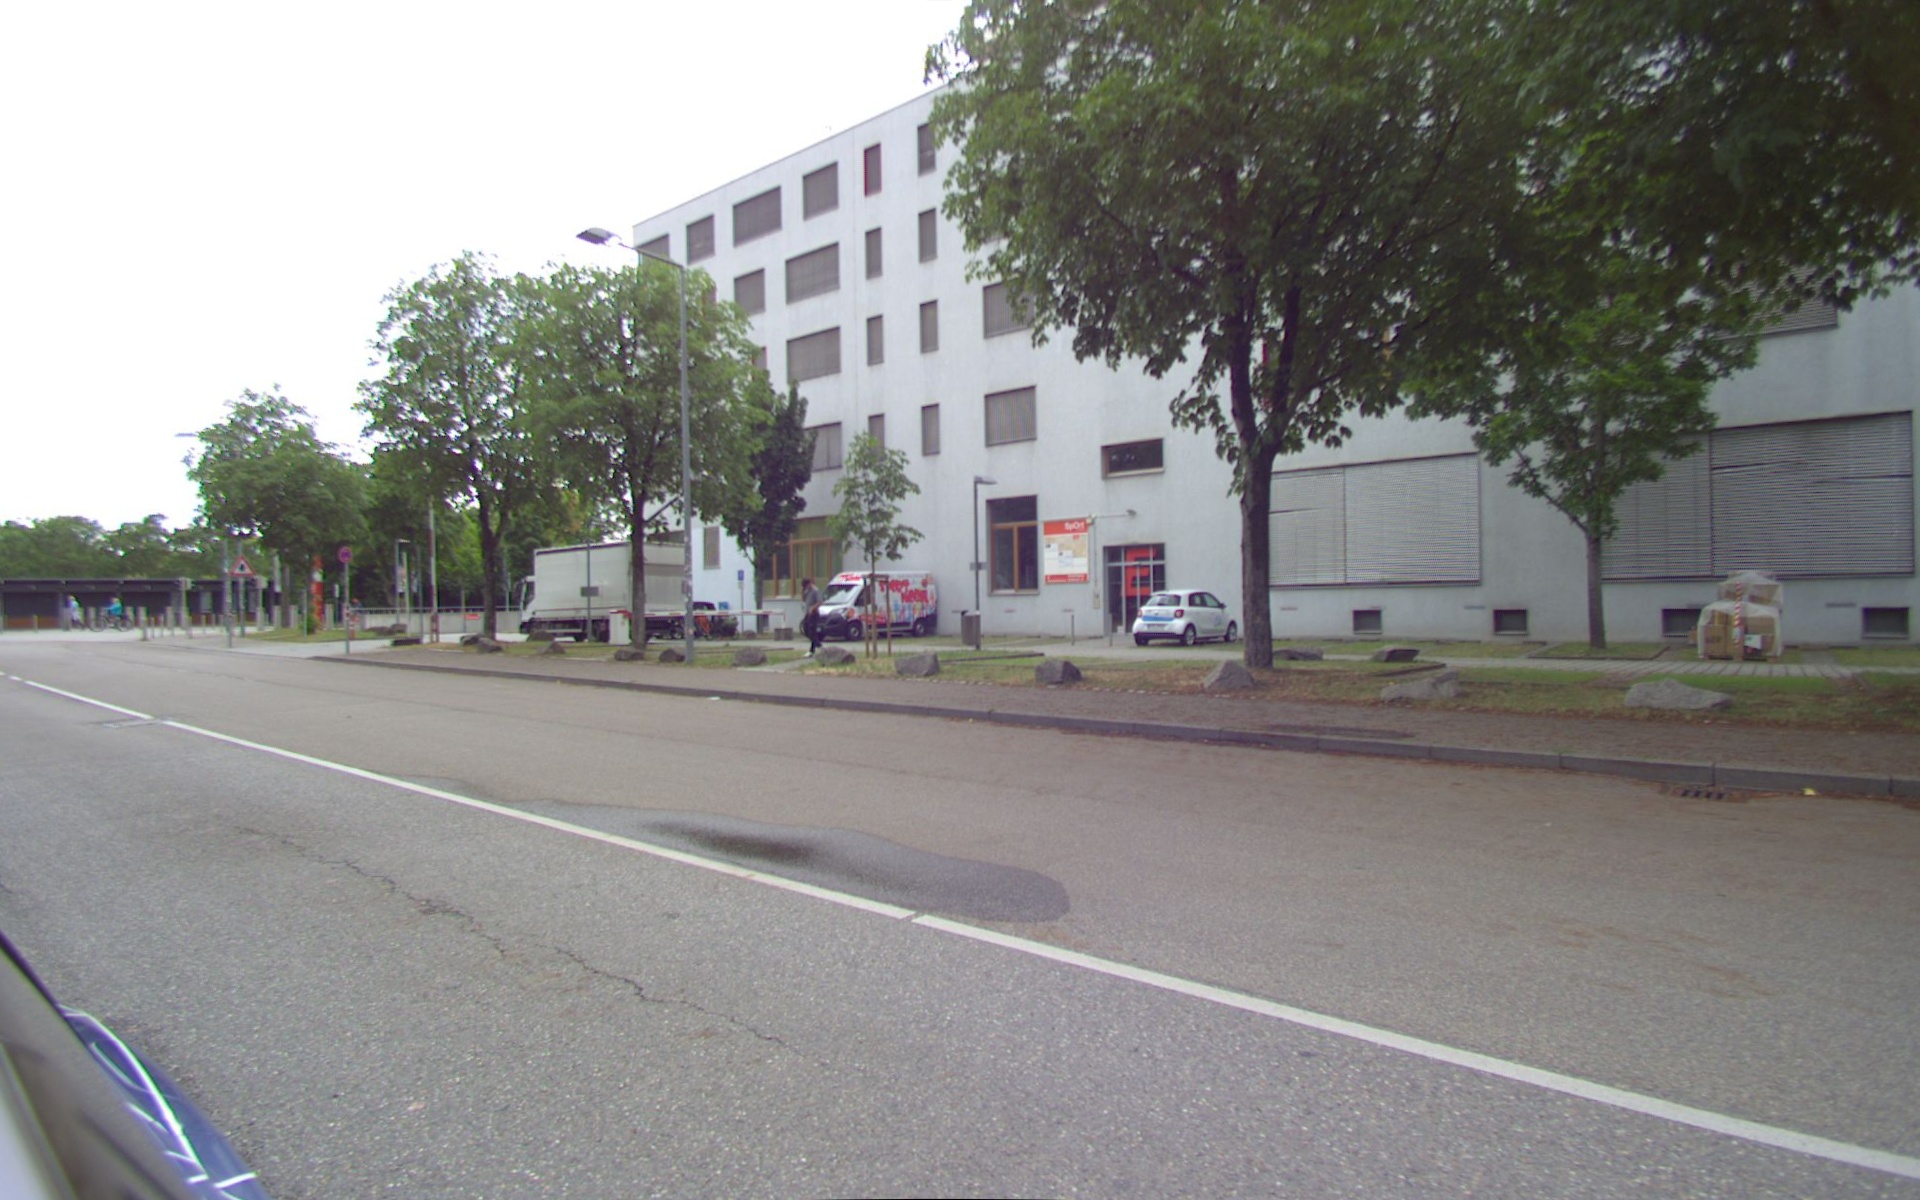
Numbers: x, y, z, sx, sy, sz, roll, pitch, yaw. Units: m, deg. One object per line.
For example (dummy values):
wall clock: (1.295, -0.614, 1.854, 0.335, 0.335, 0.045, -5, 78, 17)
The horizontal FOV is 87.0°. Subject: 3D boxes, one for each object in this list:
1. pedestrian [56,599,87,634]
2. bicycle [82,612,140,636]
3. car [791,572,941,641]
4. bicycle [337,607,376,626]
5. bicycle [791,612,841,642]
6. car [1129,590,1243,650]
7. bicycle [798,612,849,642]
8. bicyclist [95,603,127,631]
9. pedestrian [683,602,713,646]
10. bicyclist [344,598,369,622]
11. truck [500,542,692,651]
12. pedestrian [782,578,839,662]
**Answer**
pedestrian: (-48.028, 0.884, 54.694, 0.928, 1.847, 1.184, 1, 2, 44)
bicycle: (-44.913, 1.257, 53.553, 0.747, 1.131, 2.230, 0, 1, 37)
car: (-3.303, 0.167, 36.667, 2.077, 2.296, 5.569, 0, 1, 40)
bicycle: (-38.906, 1.056, 65.286, 0.775, 1.152, 2.030, 1, 2, 30)
bicycle: (-5.683, 1.050, 40.005, 0.614, 1.078, 2.003, 0, 1, 43)
car: (6.421, 0.506, 28.514, 1.691, 1.511, 3.576, 0, 1, 40)
bicycle: (-5.305, 1.055, 39.447, 0.614, 1.078, 2.003, 0, 1, 43)
bicyclist: (-44.913, 0.886, 53.551, 0.742, 1.441, 1.145, 0, 1, 37)
pedestrian: (-9.864, 0.895, 38.150, 0.885, 1.618, 0.672, 0, 1, 34)
bicyclist: (-38.912, 0.656, 65.275, 0.924, 1.507, 1.090, 1, 2, 31)
truck: (-13.617, -0.154, 37.435, 8.354, 3.627, 2.651, 0, 1, 38)
pedestrian: (-3.062, 0.390, 20.705, 0.785, 1.684, 0.836, 0, 1, 35)
